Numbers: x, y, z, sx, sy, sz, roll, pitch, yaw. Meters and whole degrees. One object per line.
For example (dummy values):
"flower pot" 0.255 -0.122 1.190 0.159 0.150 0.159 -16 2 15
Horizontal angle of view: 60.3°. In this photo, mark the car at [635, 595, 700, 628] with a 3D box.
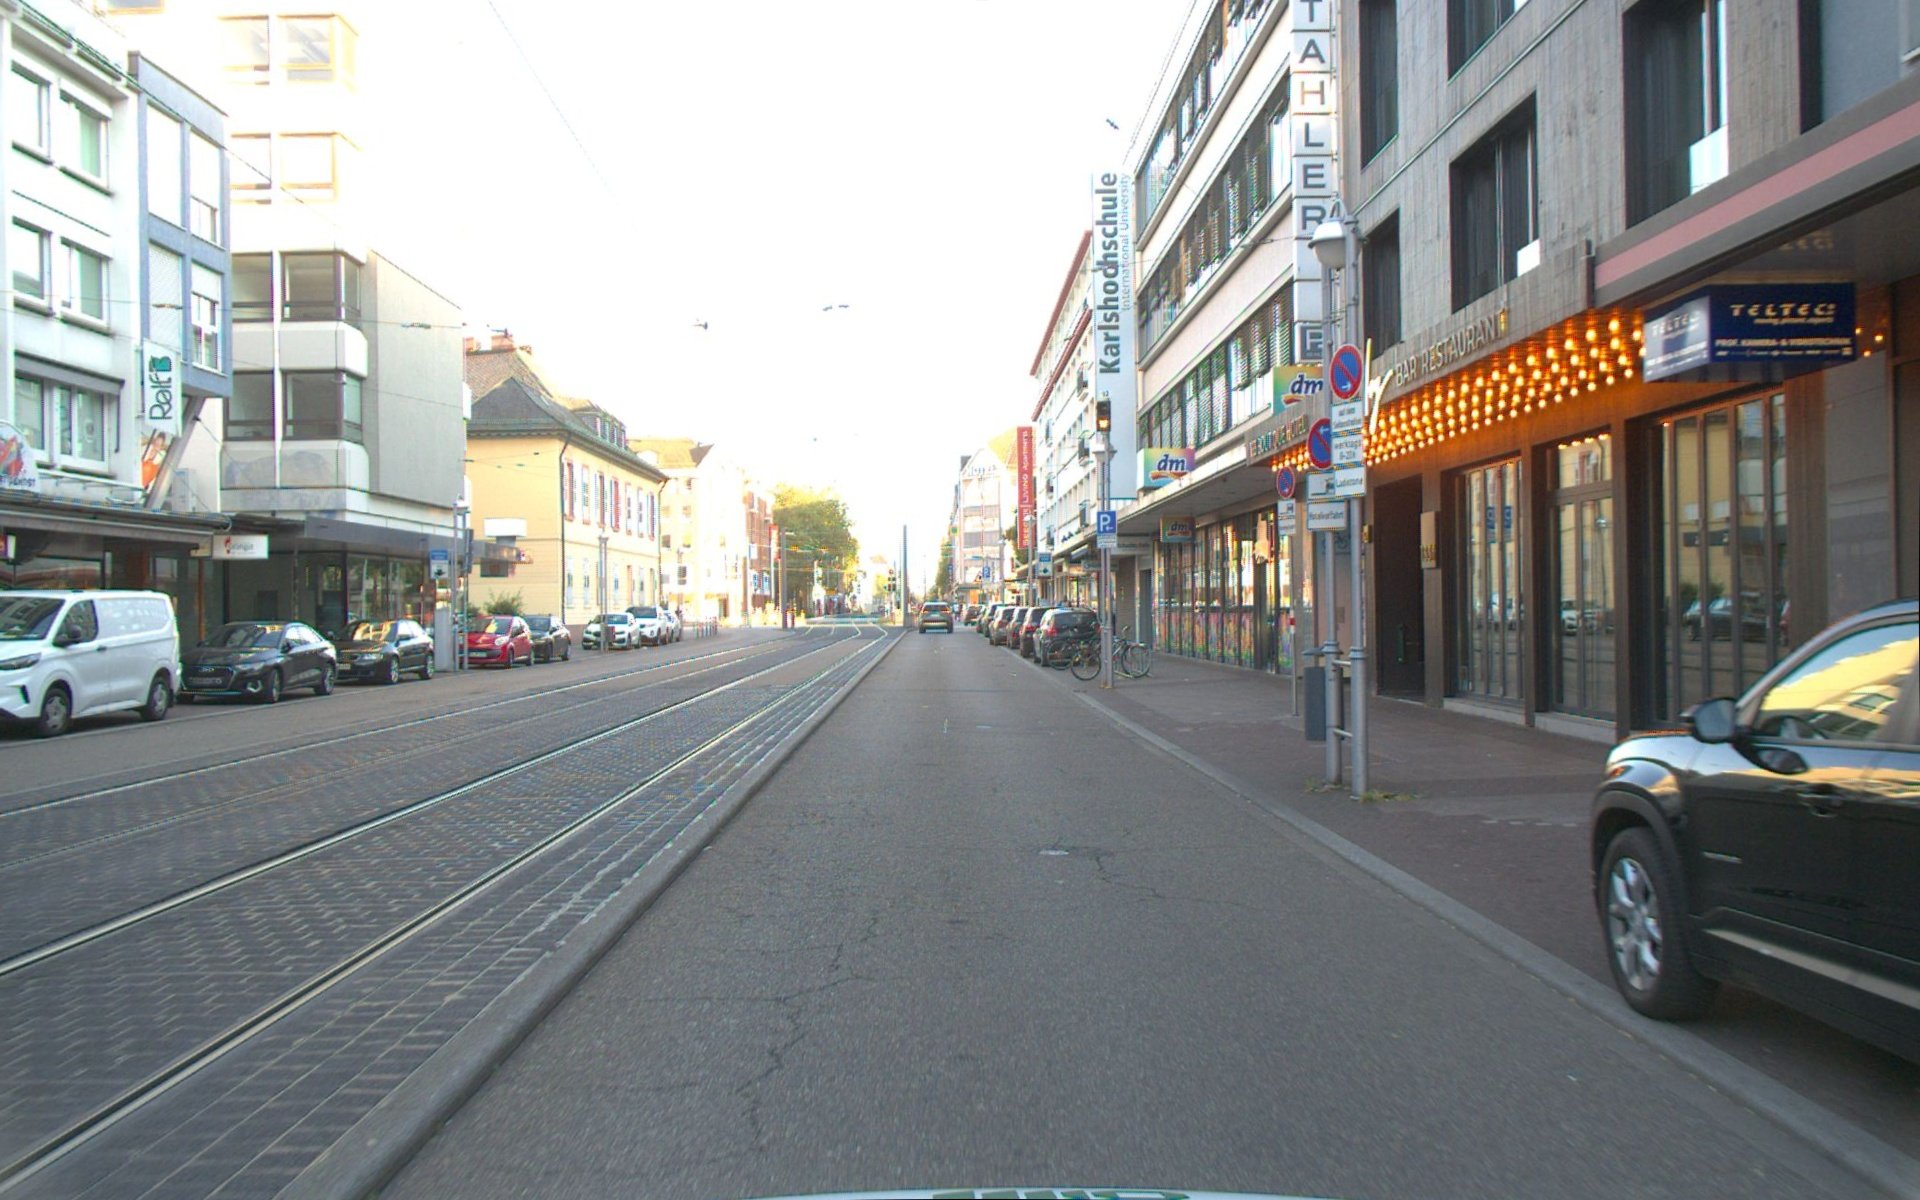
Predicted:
"car" -18.895 0.740 106.725 3.924 2.049 1.990 -1 -1 -18

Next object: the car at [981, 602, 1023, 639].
"car" 1.995 0.993 79.687 1.818 1.731 4.416 1 -1 -2

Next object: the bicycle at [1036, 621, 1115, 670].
"bicycle" 2.746 1.085 39.449 1.803 1.129 0.641 -1 -1 -4

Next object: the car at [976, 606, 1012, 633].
"car" 1.845 1.062 91.044 1.754 1.437 4.686 1 -1 -1

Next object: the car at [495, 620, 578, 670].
"car" -13.378 1.389 52.457 1.657 1.450 3.964 1 0 -1

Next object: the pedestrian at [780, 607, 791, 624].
"pedestrian" -14.818 1.307 140.544 0.885 1.399 0.853 -1 -1 -4

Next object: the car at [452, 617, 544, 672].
"car" -13.212 1.251 47.474 1.657 1.459 3.591 -1 0 -1

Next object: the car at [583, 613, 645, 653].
"car" -13.867 1.303 66.507 1.686 1.478 4.282 1 0 -2

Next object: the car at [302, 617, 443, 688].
"car" -13.358 1.156 37.840 1.753 1.486 4.090 -1 0 0

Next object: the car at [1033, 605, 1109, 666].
"car" 2.817 0.904 42.709 1.621 1.488 4.021 1 -1 -1

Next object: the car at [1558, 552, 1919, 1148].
"car" 3.356 0.650 4.797 1.705 1.568 3.964 -1 -1 -1

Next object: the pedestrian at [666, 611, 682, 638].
"pedestrian" -16.750 1.449 96.937 0.783 1.569 0.877 1 -1 1

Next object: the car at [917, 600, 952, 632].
"car" -1.409 0.925 92.785 1.798 1.665 4.090 -2 -2 0

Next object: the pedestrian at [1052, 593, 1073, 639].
"pedestrian" 4.368 0.691 70.453 0.759 1.913 0.934 -1 -1 -3

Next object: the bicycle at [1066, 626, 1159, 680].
"bicycle" 3.095 1.075 33.664 1.759 0.989 0.575 -3 0 -4

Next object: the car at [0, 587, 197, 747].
"car" -13.057 0.885 23.784 1.924 2.049 5.097 1 -1 -2

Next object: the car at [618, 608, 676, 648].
"car" -13.718 1.217 72.709 1.849 1.690 4.758 1 0 -3

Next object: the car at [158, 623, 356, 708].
"car" -13.164 1.179 31.281 1.834 1.452 4.569 1 -1 -1

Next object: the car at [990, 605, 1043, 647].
"car" 2.180 1.007 64.900 1.755 1.560 4.854 1 -1 -2

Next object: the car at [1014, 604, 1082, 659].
"car" 2.615 0.939 49.877 1.729 1.540 4.070 1 -1 -1

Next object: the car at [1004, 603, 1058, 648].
"car" 2.503 0.911 59.200 1.691 1.507 3.999 1 -1 -1
